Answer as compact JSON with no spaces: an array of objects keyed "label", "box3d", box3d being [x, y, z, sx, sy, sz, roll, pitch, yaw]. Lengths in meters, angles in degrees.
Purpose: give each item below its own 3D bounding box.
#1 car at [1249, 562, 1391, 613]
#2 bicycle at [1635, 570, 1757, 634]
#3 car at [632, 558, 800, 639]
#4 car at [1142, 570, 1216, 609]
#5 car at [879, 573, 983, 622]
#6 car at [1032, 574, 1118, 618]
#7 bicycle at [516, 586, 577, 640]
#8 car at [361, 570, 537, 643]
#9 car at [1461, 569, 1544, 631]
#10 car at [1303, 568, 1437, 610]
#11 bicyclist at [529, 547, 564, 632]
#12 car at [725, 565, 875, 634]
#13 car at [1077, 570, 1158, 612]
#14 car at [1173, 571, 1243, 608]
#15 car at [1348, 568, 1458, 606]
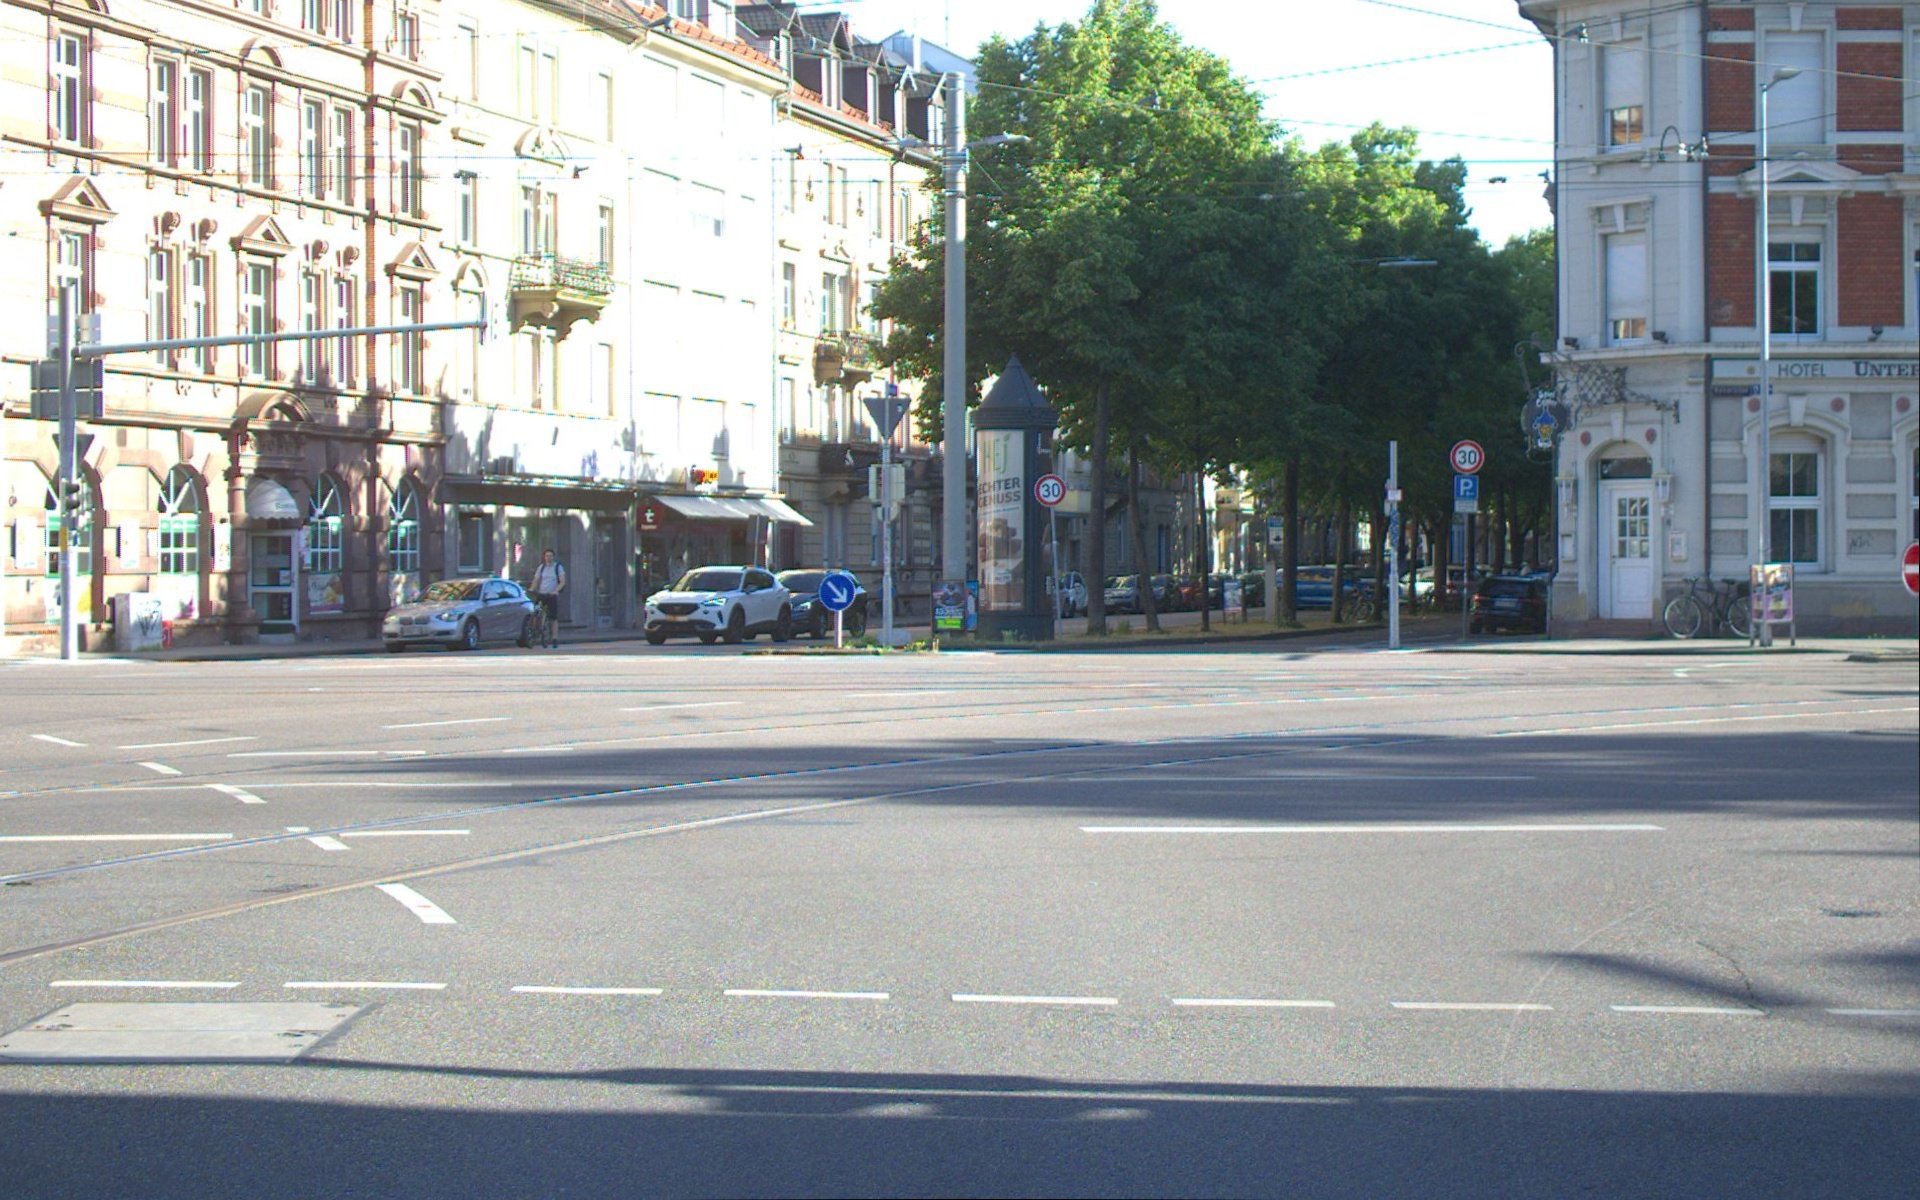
[{"label":"car","box3d":[10.449,-0.359,99.689,3.989,1.450,1.681,0,1,11]},{"label":"bicycle","box3d":[12.271,0.025,57.347,1.953,1.050,0.715,0,1,10]},{"label":"car","box3d":[-4.750,-0.052,67.475,1.995,1.511,4.166,0,1,16]},{"label":"car","box3d":[8.406,-0.413,131.411,1.995,1.400,4.166,0,1,16]},{"label":"car","box3d":[-0.842,-0.089,102.095,1.995,1.400,4.166,0,1,16]},{"label":"car","box3d":[3.940,-0.147,116.865,1.995,1.400,4.166,0,1,16]},{"label":"bicycle","box3d":[-7.846,0.233,65.305,0.655,0.997,1.664,1,1,12]},{"label":"car","box3d":[-9.926,0.103,67.048,1.995,1.357,3.816,0,1,16]},{"label":"car","box3d":[13.049,-0.024,82.533,1.756,1.415,3.998,0,1,12]},{"label":"car","box3d":[12.578,-0.345,105.398,3.989,1.284,1.694,0,1,11]},{"label":"bicyclist","box3d":[-7.838,-0.201,65.198,0.489,1.596,0.666,0,1,10]},{"label":"car","box3d":[-3.397,-0.039,73.649,1.995,1.400,4.166,0,1,16]},{"label":"car","box3d":[5.653,-0.336,122.583,1.995,1.400,4.166,0,1,16]},{"label":"car","box3d":[9.883,-0.444,136.608,1.995,1.400,4.166,0,1,16]},{"label":"car","box3d":[14.364,-0.426,111.471,3.435,1.235,1.576,0,1,11]}]
